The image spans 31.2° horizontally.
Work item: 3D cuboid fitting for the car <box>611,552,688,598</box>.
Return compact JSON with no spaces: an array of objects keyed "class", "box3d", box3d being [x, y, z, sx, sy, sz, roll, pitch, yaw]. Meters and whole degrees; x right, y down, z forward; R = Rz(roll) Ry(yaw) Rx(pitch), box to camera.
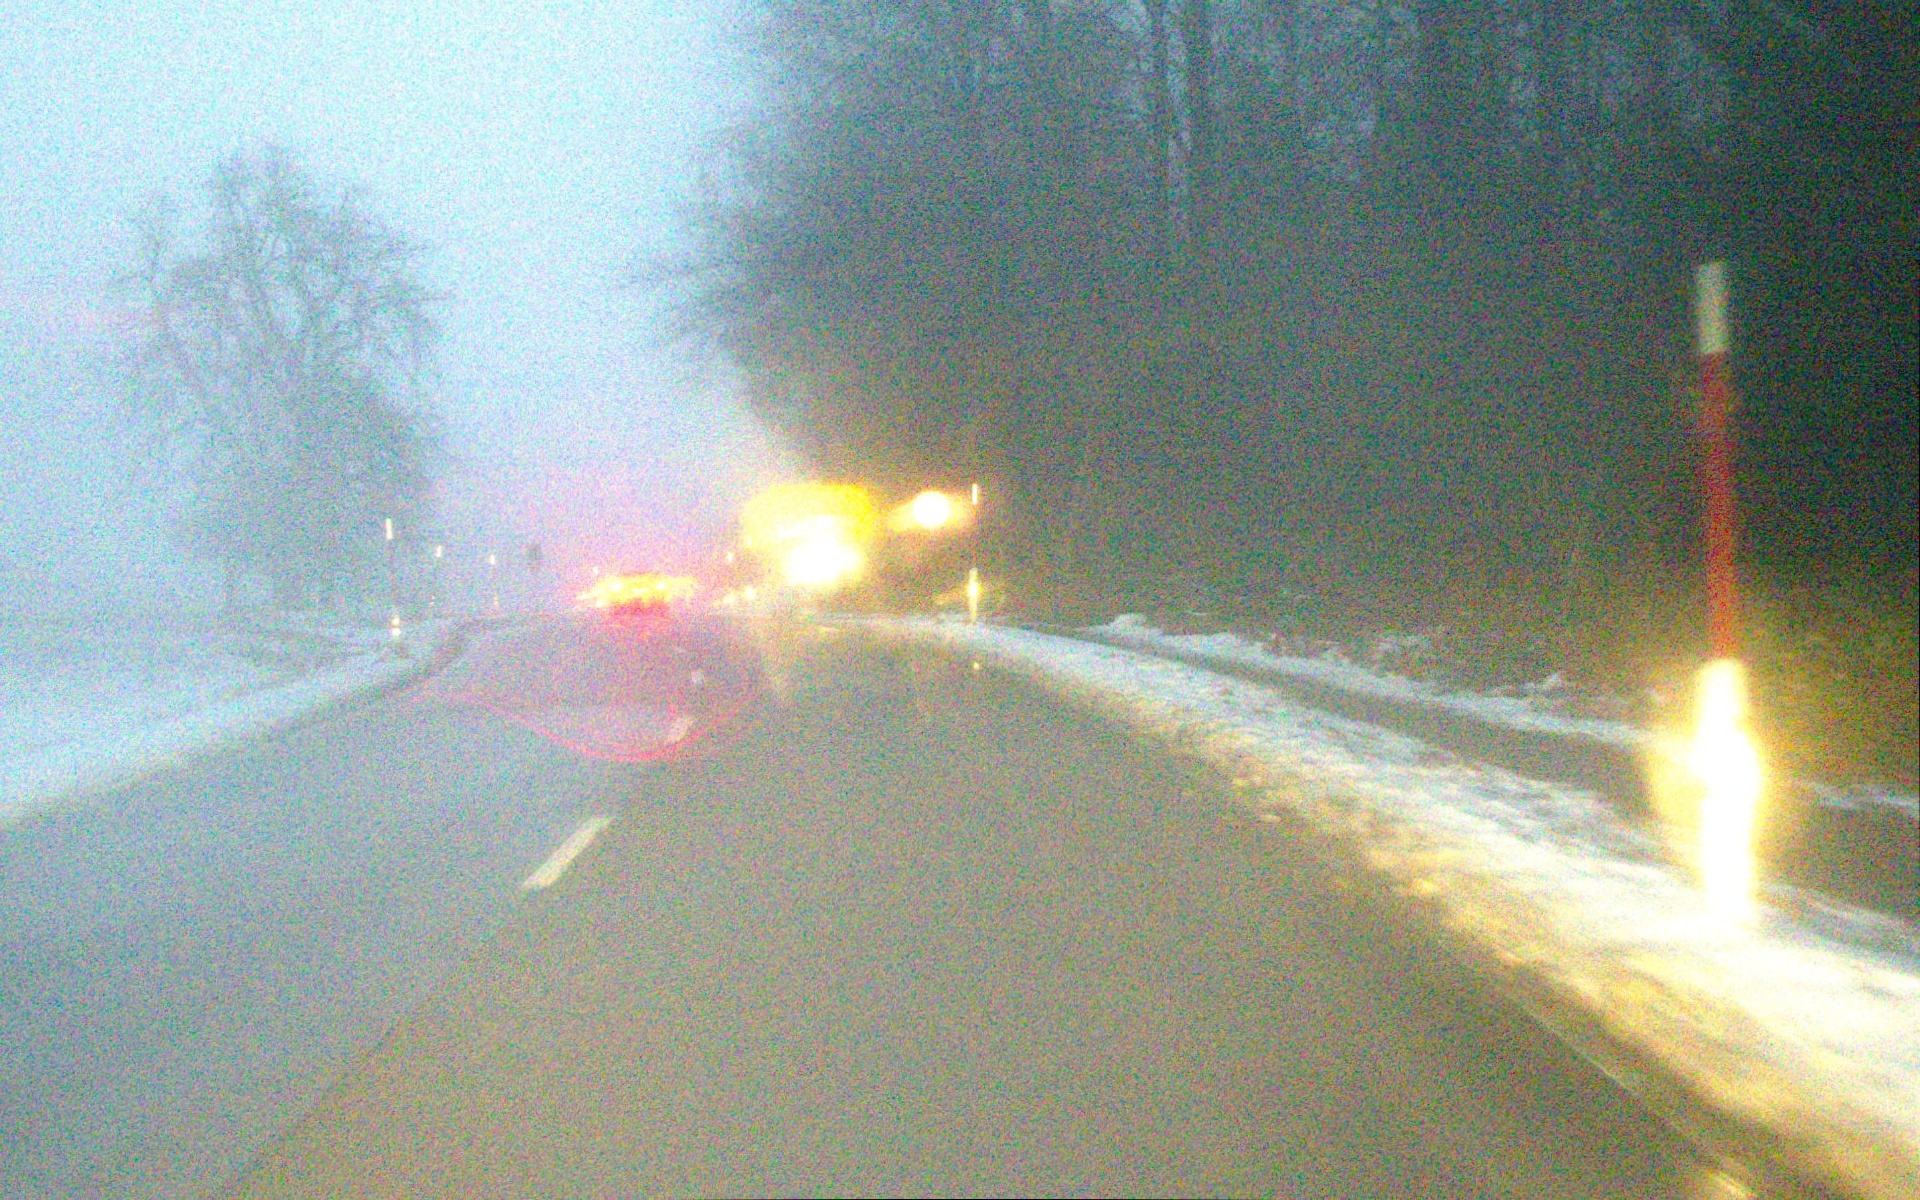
[{"class":"car","box3d":[-9.320,-0.756,103.498,1.922,1.272,4.000,-2,1,0]}]
